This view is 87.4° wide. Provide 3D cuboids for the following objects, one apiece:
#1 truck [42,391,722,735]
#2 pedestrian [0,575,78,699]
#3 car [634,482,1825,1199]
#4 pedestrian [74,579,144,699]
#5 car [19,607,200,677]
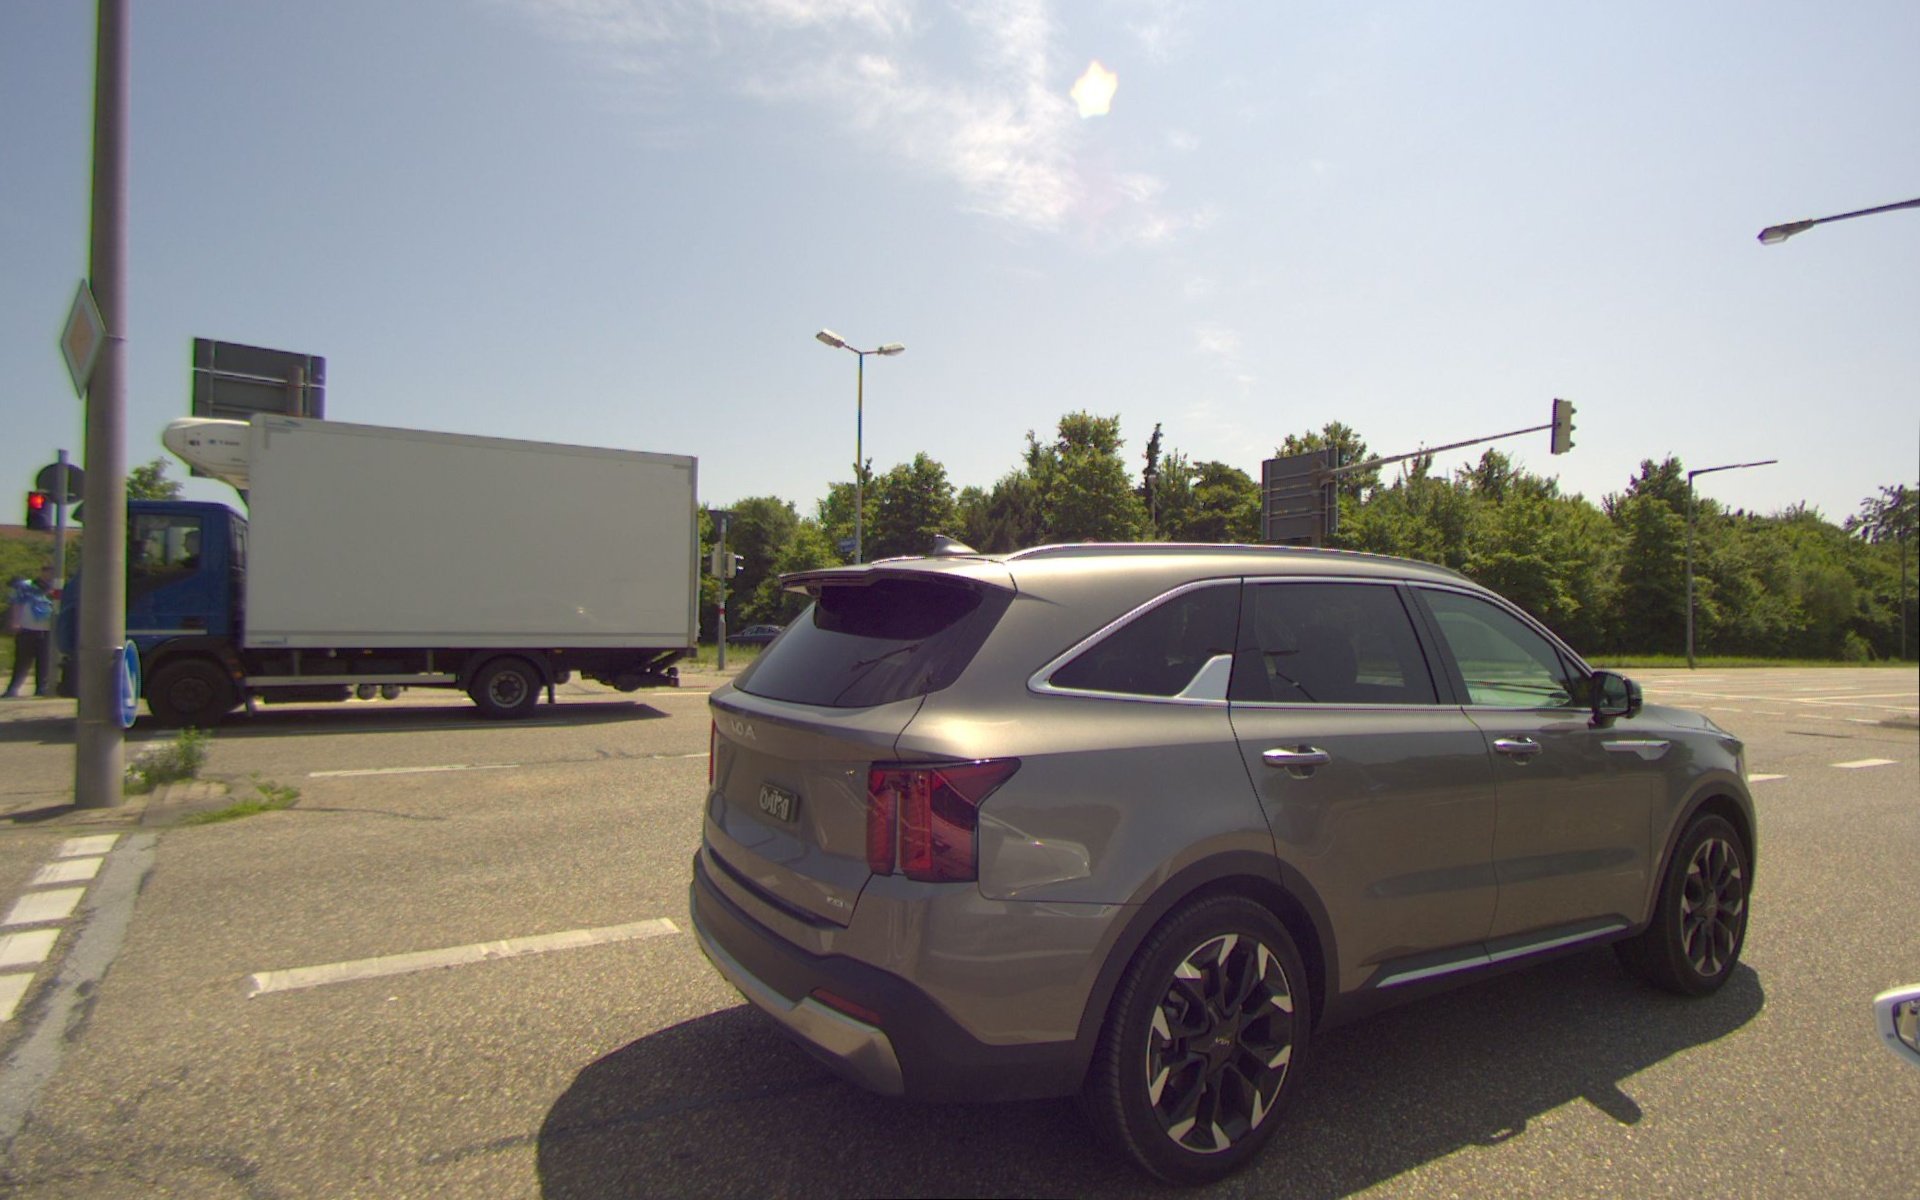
[{"bbox_3d":[-7.154,-0.287,13.532,7.183,3.618,2.674,2,-1,-31],"label":"truck"},{"bbox_3d":[-13.449,0.534,14.551,0.779,1.759,0.582,1,-1,-11],"label":"pedestrian"},{"bbox_3d":[1.286,0.695,3.926,4.590,1.684,1.795,2,-2,-30],"label":"car"},{"bbox_3d":[-12.596,0.571,14.868,0.719,1.722,0.765,2,-1,-44],"label":"pedestrian"},{"bbox_3d":[-20.672,1.026,24.668,1.849,1.521,4.294,-1,-2,-18],"label":"car"}]
